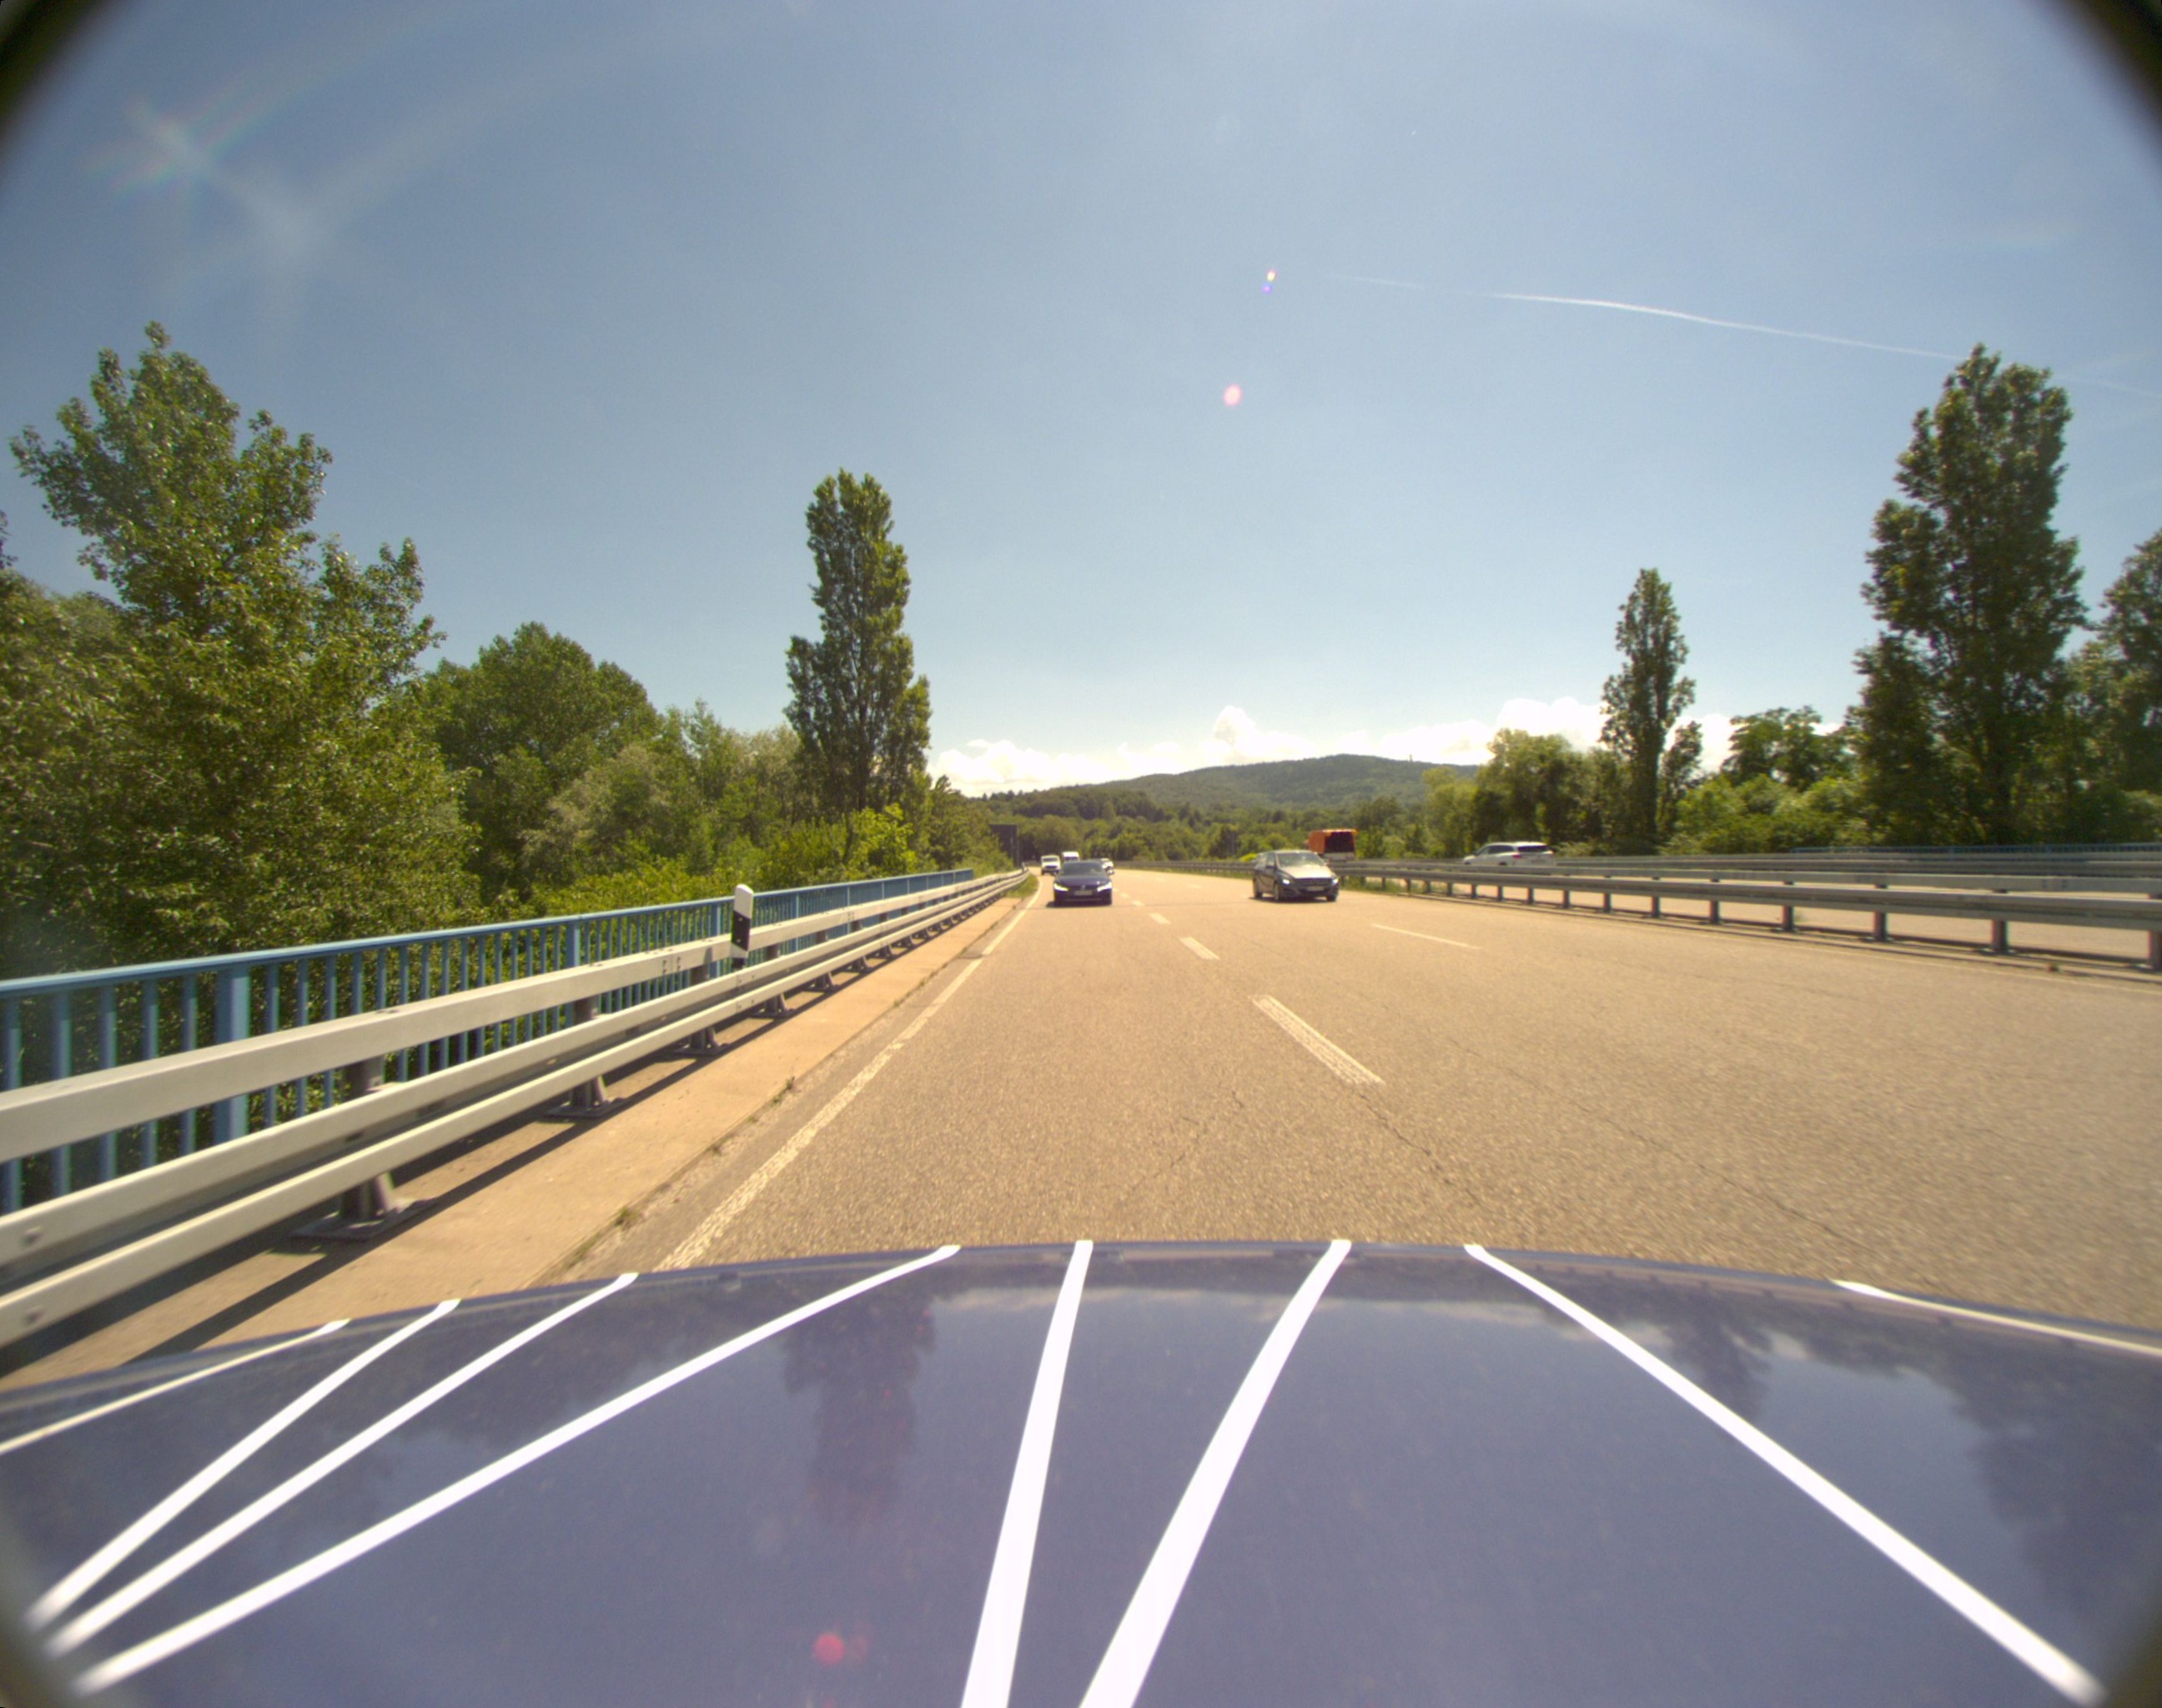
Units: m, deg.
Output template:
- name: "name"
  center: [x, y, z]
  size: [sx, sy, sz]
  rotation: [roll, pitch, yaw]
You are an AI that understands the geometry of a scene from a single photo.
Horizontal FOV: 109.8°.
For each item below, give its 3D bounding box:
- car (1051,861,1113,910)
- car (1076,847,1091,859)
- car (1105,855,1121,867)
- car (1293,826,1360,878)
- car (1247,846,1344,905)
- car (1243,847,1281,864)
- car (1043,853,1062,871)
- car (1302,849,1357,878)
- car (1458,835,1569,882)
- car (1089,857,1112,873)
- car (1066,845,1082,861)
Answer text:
- name: "car"
  center: [0.050, 0.974, 25.425]
  size: [1.846, 1.399, 4.470]
  rotation: [-2, 0, 1]
- name: "car"
  center: [0.527, -0.200, 181.823]
  size: [2.287, 2.758, 7.213]
  rotation: [-1, 1, -11]
- name: "car"
  center: [4.075, 0.917, 96.805]
  size: [1.846, 1.400, 4.468]
  rotation: [-2, 1, 0]
- name: "car"
  center: [16.822, -0.139, 52.583]
  size: [2.311, 3.272, 7.027]
  rotation: [-1, 0, 0]
- name: "car"
  center: [6.655, 0.660, 24.073]
  size: [1.797, 1.657, 4.555]
  rotation: [-1, -1, 1]
- name: "car"
  center: [16.237, 0.143, 68.420]
  size: [1.858, 1.424, 4.792]
  rotation: [-1, 0, -5]
- name: "car"
  center: [-2.954, 0.774, 79.415]
  size: [1.885, 1.724, 4.468]
  rotation: [-2, 1, -2]
- name: "car"
  center: [13.534, 0.492, 41.650]
  size: [1.729, 1.420, 3.947]
  rotation: [-1, 1, 0]
- name: "car"
  center: [17.971, 0.128, 31.894]
  size: [1.858, 1.808, 4.793]
  rotation: [-1, 1, -2]
- name: "car"
  center: [1.785, 0.993, 71.931]
  size: [1.846, 1.400, 4.468]
  rotation: [-2, 1, -2]
- name: "car"
  center: [-0.892, -0.136, 98.247]
  size: [2.008, 1.988, 4.578]
  rotation: [-2, 1, -1]
